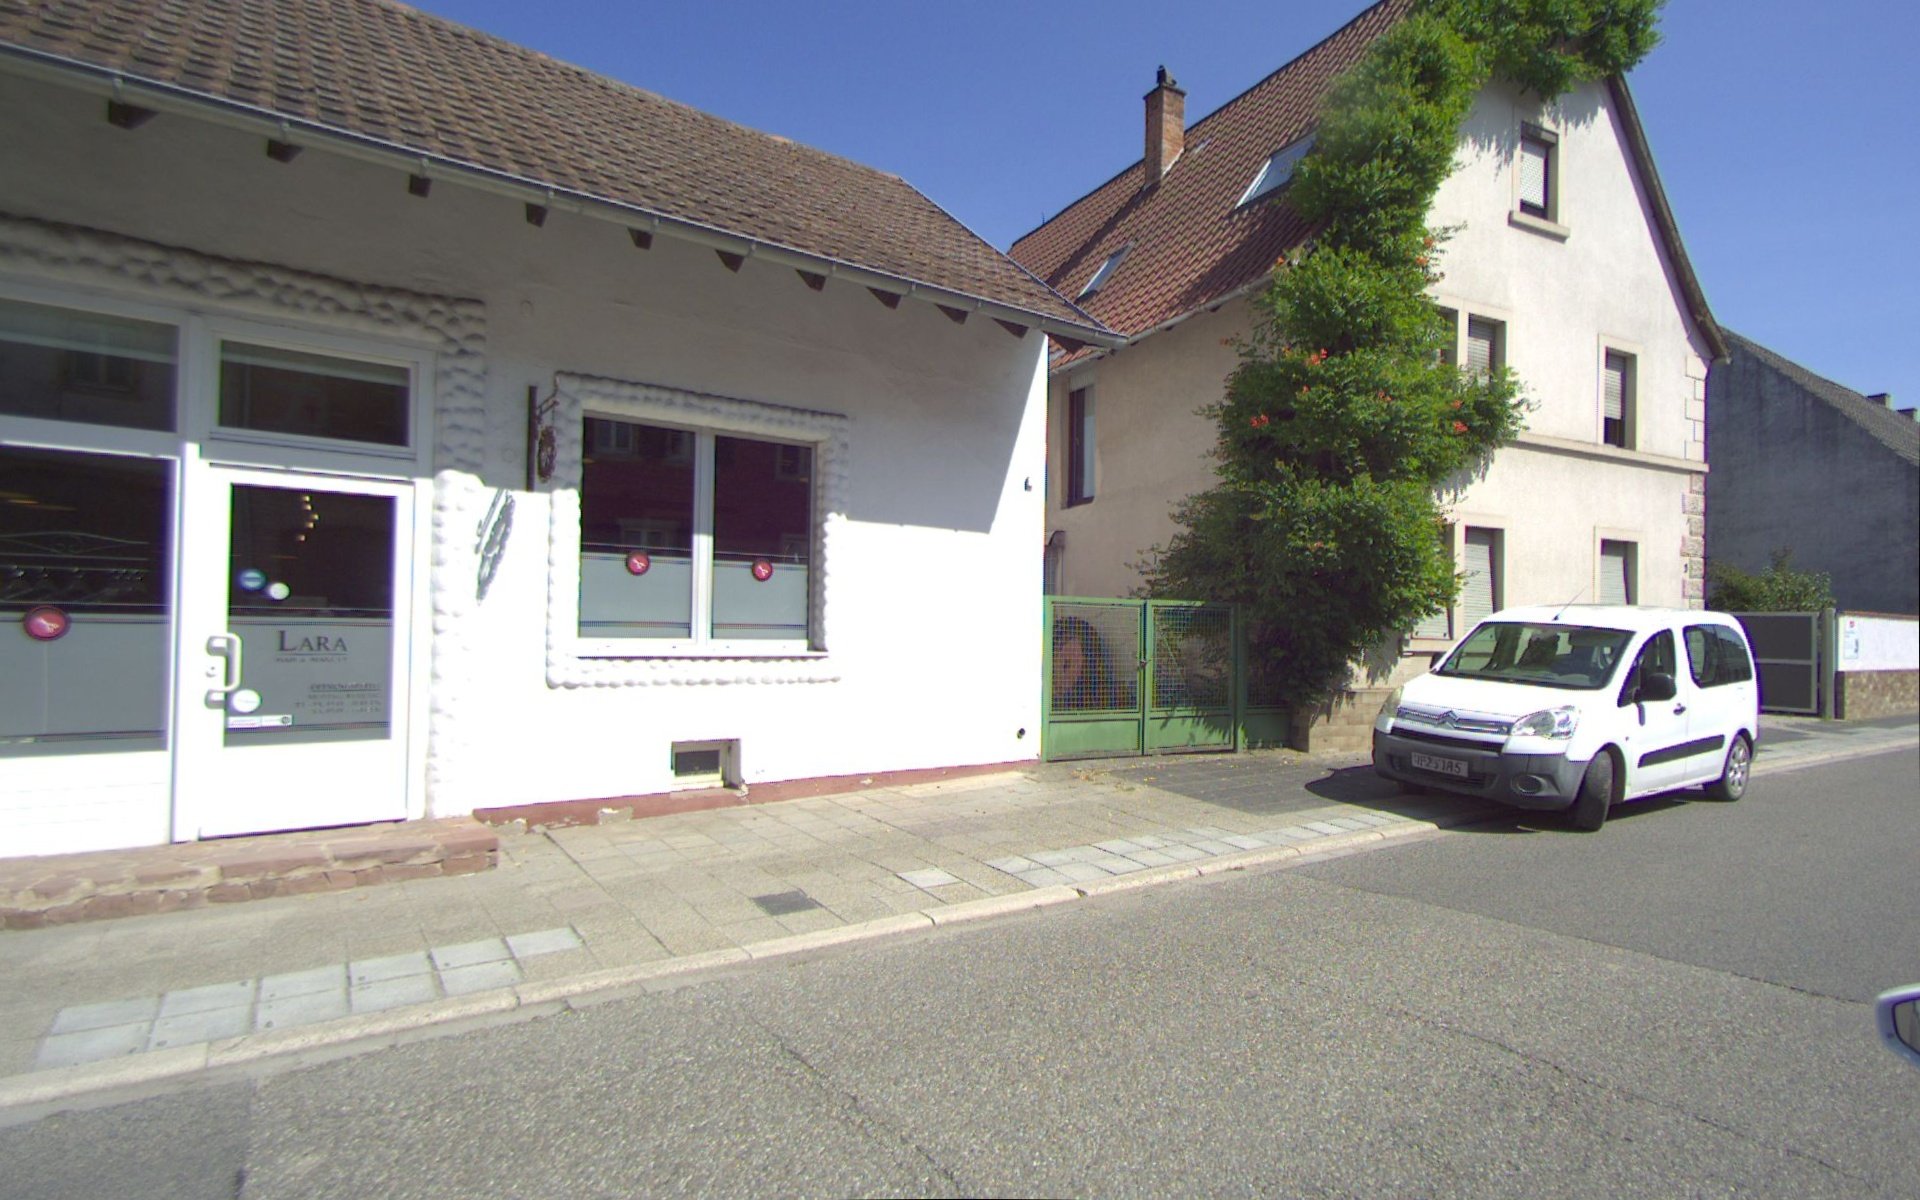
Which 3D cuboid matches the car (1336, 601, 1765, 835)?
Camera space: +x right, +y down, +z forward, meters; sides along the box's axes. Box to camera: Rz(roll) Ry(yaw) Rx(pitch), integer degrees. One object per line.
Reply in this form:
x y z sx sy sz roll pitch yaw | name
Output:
5.550 0.910 9.228 4.388 1.669 1.842 2 -1 -36 | car

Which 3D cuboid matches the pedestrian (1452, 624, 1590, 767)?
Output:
6.660 1.093 11.946 1.127 1.572 1.008 2 -1 -32 | pedestrian
